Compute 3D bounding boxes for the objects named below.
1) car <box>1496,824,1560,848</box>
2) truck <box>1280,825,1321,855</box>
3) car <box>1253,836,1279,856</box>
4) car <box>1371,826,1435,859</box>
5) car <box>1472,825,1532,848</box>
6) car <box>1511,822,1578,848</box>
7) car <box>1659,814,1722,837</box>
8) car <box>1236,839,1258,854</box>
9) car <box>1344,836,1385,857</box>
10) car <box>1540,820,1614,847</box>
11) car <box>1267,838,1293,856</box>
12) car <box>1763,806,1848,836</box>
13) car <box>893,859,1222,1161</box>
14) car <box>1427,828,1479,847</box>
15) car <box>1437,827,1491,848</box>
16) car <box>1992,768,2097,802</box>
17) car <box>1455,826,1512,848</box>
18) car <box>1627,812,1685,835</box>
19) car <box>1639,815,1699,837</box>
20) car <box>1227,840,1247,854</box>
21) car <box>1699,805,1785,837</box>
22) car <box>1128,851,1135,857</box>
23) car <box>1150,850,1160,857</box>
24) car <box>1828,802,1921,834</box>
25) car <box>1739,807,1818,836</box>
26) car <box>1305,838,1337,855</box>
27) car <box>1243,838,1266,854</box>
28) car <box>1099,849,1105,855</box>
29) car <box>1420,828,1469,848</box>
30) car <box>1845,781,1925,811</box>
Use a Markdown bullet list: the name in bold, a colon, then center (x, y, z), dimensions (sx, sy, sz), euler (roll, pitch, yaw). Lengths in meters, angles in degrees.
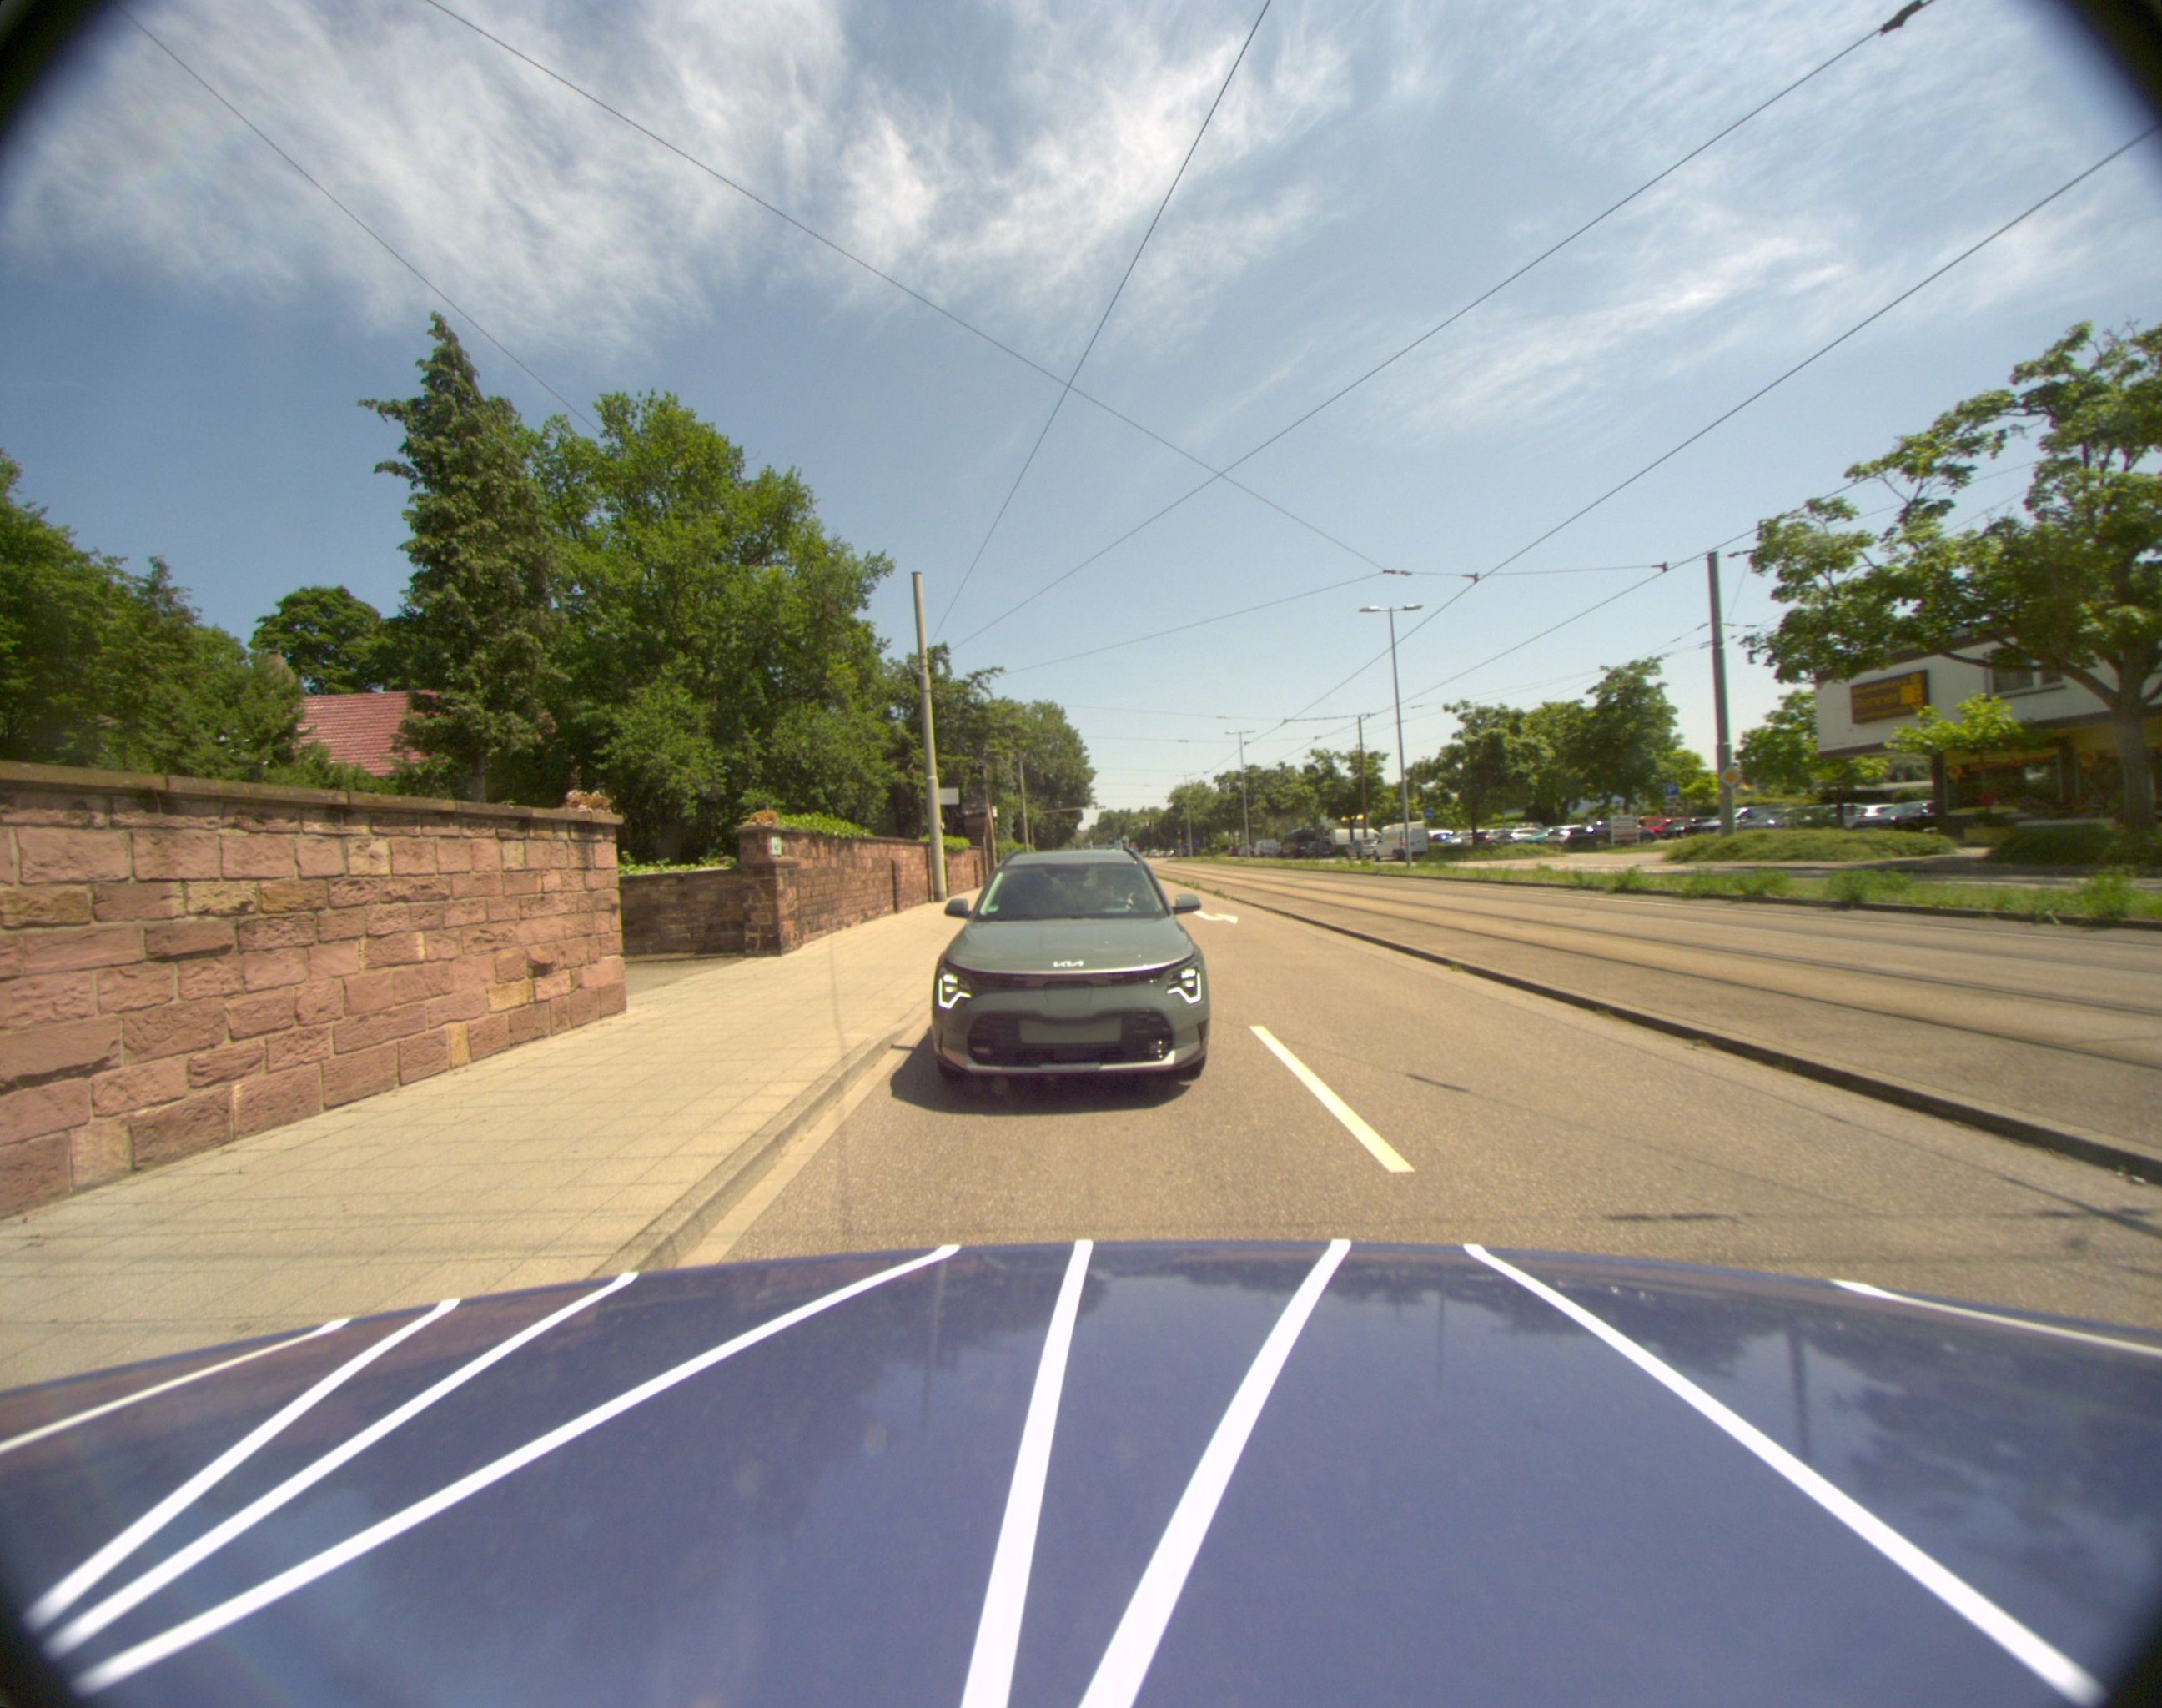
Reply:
- **car**: center (30.685, -1.225, 52.228), dimensions (3.414, 1.386, 1.603), euler (-4, 1, -5)
- **truck**: center (20.222, -1.266, 70.266), dimensions (2.225, 2.526, 4.929), euler (-3, 0, 1)
- **car**: center (20.480, -0.872, 84.287), dimensions (1.681, 1.963, 4.509), euler (-4, 0, 0)
- **car**: center (20.173, -0.715, 47.837), dimensions (1.998, 1.872, 4.661), euler (-3, 0, 1)
- **car**: center (30.122, -1.228, 54.427), dimensions (3.414, 1.386, 1.603), euler (-4, 1, -5)
- **car**: center (30.339, -1.250, 49.819), dimensions (3.414, 1.482, 1.598), euler (-4, 1, -5)
- **car**: center (43.835, -2.022, 54.662), dimensions (3.355, 1.381, 1.506), euler (-4, 1, -2)
- **car**: center (20.650, -0.894, 94.748), dimensions (1.681, 1.783, 4.202), euler (-3, 0, 0)
- **car**: center (20.177, -0.540, 54.185), dimensions (1.675, 1.378, 3.569), euler (-3, 0, 2)
- **car**: center (30.740, -1.256, 47.131), dimensions (3.414, 1.482, 1.793), euler (-4, 0, -5)
- **car**: center (20.625, -0.756, 78.727), dimensions (1.681, 1.783, 3.868), euler (-2, 1, 1)
- **car**: center (42.626, -1.928, 44.764), dimensions (3.492, 1.528, 1.624), euler (-4, 1, -2)
- **car**: center (-0.103, 0.895, 6.359), dimensions (1.789, 1.561, 4.184), euler (-2, 1, 1)
- **car**: center (30.807, -1.350, 62.951), dimensions (3.414, 1.386, 1.603), euler (-4, 1, -5)
- **car**: center (30.282, -1.297, 60.056), dimensions (3.414, 1.386, 1.603), euler (-4, 1, -5)
- **car**: center (61.214, -4.364, 48.314), dimensions (3.996, 1.761, 2.000), euler (-3, 1, 2)
- **car**: center (30.538, -1.280, 57.650), dimensions (3.414, 1.386, 1.603), euler (-4, 1, -5)
- **car**: center (45.246, -2.400, 59.819), dimensions (3.355, 1.552, 1.506), euler (-4, 1, -2)
- **car**: center (44.215, -2.098, 57.170), dimensions (3.355, 1.450, 1.506), euler (-4, 1, -2)
- **car**: center (20.739, -0.911, 101.249), dimensions (1.681, 1.693, 3.823), euler (-4, 0, 0)
- **car**: center (43.027, -2.163, 49.497), dimensions (3.998, 1.774, 1.813), euler (-4, 1, -2)
- **car**: center (15.136, -0.126, 227.479), dimensions (1.998, 1.652, 4.000), euler (-4, 0, 0)
- **car**: center (16.012, -0.174, 164.433), dimensions (1.737, 1.469, 4.000), euler (-4, 0, 0)
- **car**: center (43.694, -1.967, 41.879), dimensions (3.492, 1.528, 1.624), euler (-4, 1, -2)
- **car**: center (43.260, -1.990, 47.167), dimensions (3.492, 1.528, 1.534), euler (-4, 1, -2)
- **car**: center (20.257, -0.628, 64.257), dimensions (1.675, 1.378, 3.669), euler (-3, 0, 2)
- **car**: center (20.631, -0.948, 90.306), dimensions (1.681, 1.783, 4.202), euler (-4, 0, 0)
- **car**: center (6.741, -0.642, 243.033), dimensions (1.998, 1.652, 4.000), euler (-3, 0, 0)
- **car**: center (31.386, -1.402, 65.615), dimensions (3.414, 1.497, 1.603), euler (-4, 1, -5)
- **car**: center (63.406, -4.573, 59.971), dimensions (3.996, 2.002, 2.000), euler (-3, 1, 2)
